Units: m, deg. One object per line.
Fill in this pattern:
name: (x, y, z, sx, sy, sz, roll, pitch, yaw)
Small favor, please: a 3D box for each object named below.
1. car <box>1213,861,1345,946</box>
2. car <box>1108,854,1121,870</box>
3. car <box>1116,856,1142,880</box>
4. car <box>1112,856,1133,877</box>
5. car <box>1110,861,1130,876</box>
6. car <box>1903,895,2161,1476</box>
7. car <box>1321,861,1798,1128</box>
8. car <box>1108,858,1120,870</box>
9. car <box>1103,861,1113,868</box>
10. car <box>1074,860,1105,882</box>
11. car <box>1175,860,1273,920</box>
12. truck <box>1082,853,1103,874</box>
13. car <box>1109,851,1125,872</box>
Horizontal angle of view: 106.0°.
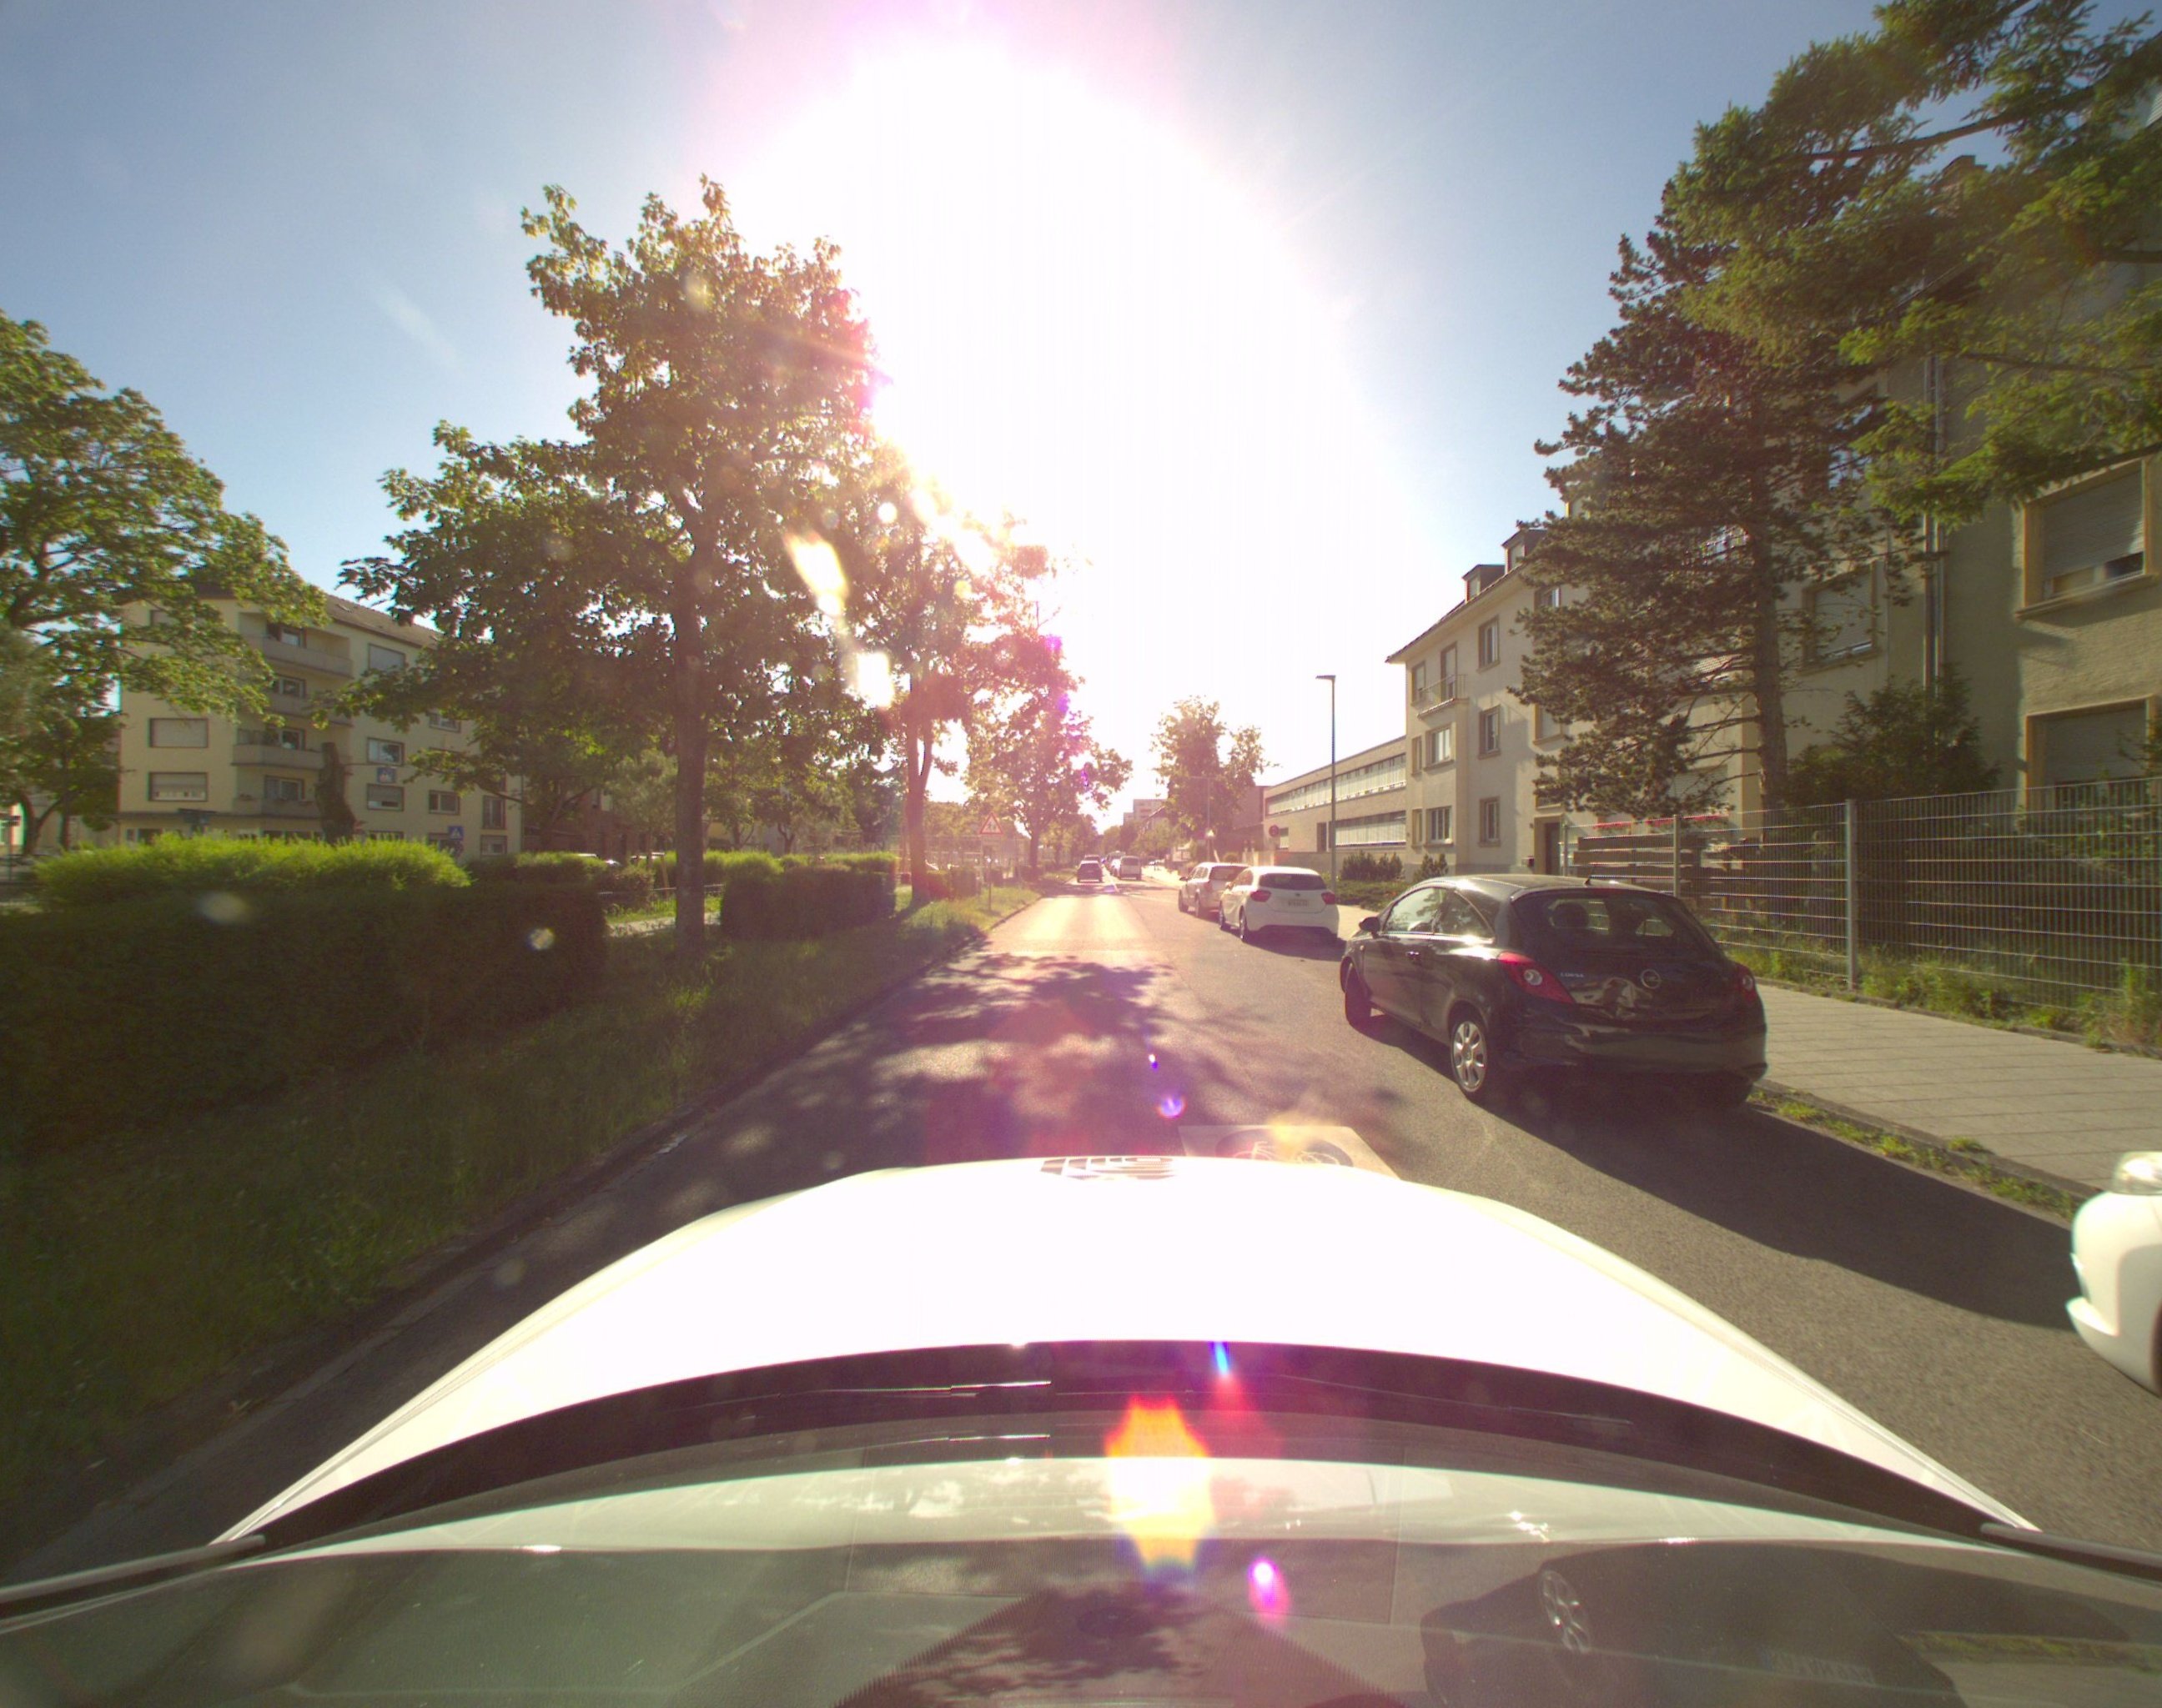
car: (3.912, 0.910, 16.739, 1.789, 1.494, 4.000, 1, 0, 1)
car: (4.831, 1.154, 117.826, 1.811, 2.354, 4.000, 0, 0, 1)
car: (3.752, 1.049, 64.128, 1.811, 1.830, 4.000, 0, 0, 1)
car: (3.766, 1.136, 74.577, 1.811, 1.830, 4.000, 0, 0, 1)
car: (3.796, 1.396, 80.299, 1.811, 1.399, 4.000, 0, 0, 1)
car: (3.502, 0.835, 0.764, 1.695, 1.398, 3.776, 1, 0, 0)
car: (3.320, 0.825, 6.595, 1.665, 1.494, 3.826, 1, 0, 1)
car: (5.198, 1.539, 129.716, 1.811, 1.835, 4.000, 0, 0, 1)
car: (5.418, 2.033, 164.398, 1.811, 1.358, 4.000, 0, 0, 1)
car: (0.551, 1.165, 57.467, 1.988, 1.524, 4.752, 0, 0, -2)
car: (3.897, 0.948, 22.874, 1.792, 1.494, 3.994, 1, 0, -4)
truck: (1.118, 0.962, 80.976, 1.987, 2.036, 4.874, 0, 0, 0)
car: (4.461, 0.970, 100.658, 1.811, 2.518, 4.000, 0, 0, 1)
